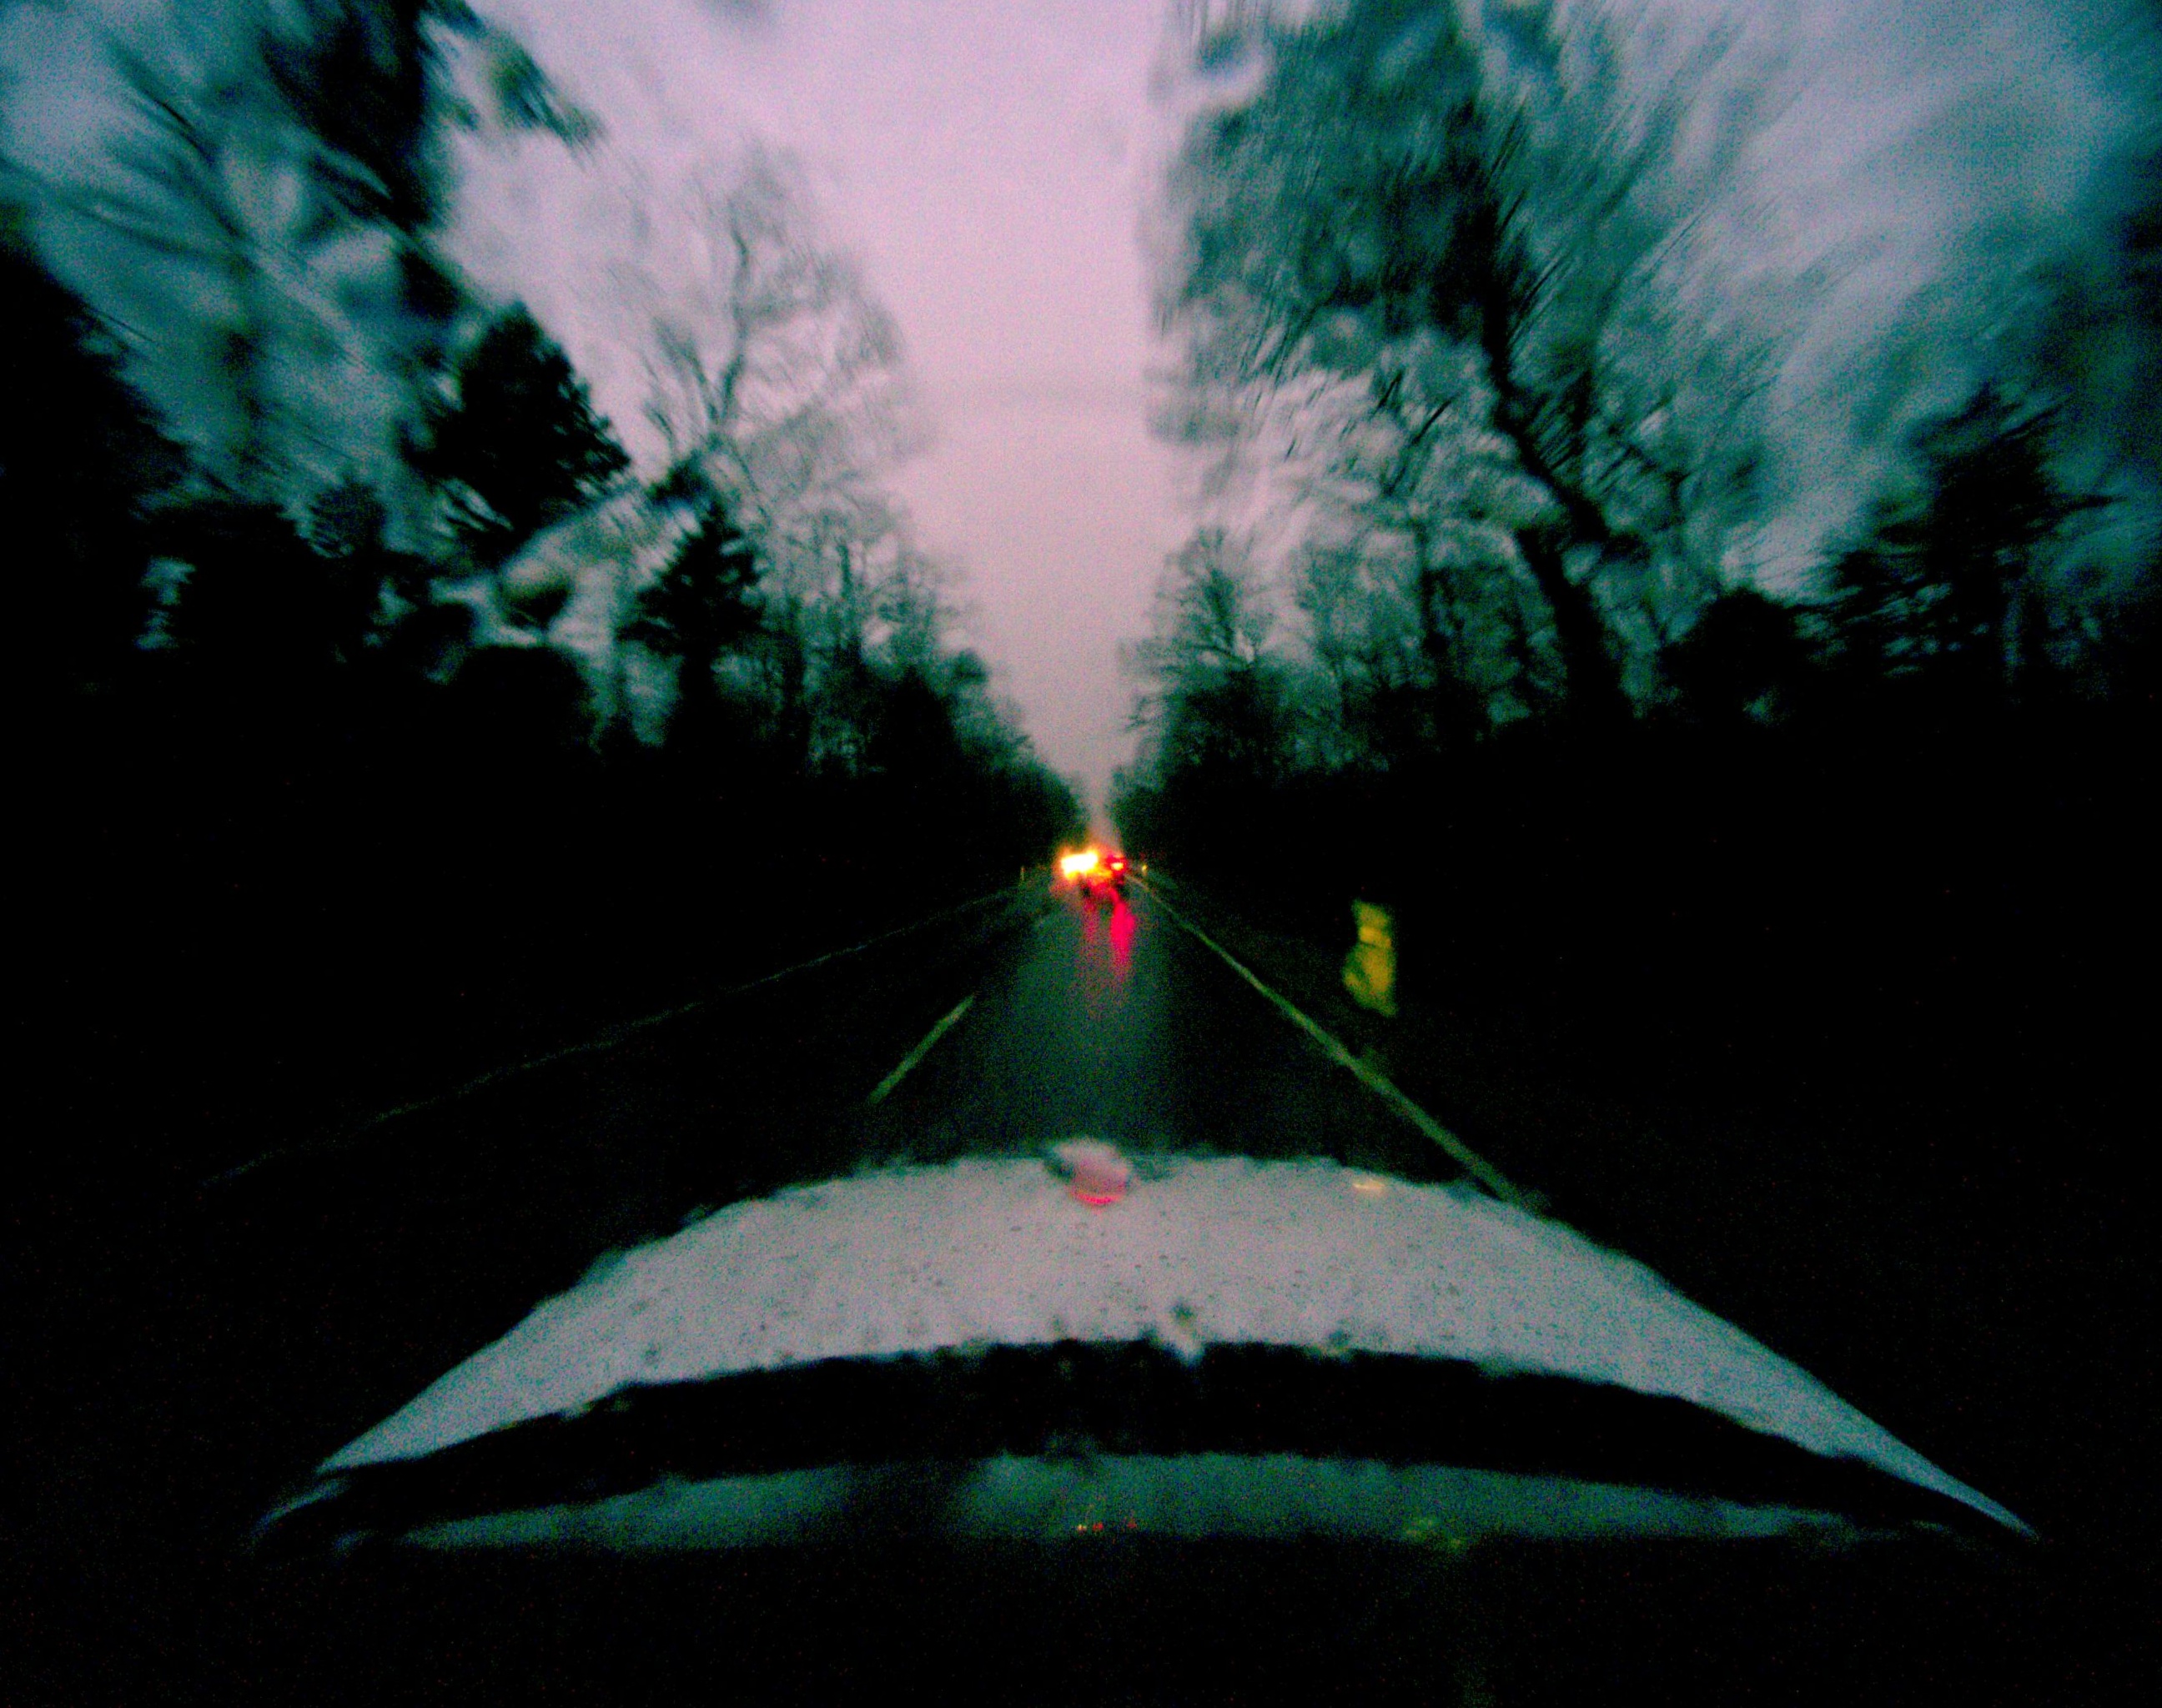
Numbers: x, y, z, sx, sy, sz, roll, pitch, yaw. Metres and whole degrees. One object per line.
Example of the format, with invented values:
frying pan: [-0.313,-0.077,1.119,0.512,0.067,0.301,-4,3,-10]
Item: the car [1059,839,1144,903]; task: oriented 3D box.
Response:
car: [0.904,0.668,33.882,3.171,2.386,6.640,-1,0,2]
